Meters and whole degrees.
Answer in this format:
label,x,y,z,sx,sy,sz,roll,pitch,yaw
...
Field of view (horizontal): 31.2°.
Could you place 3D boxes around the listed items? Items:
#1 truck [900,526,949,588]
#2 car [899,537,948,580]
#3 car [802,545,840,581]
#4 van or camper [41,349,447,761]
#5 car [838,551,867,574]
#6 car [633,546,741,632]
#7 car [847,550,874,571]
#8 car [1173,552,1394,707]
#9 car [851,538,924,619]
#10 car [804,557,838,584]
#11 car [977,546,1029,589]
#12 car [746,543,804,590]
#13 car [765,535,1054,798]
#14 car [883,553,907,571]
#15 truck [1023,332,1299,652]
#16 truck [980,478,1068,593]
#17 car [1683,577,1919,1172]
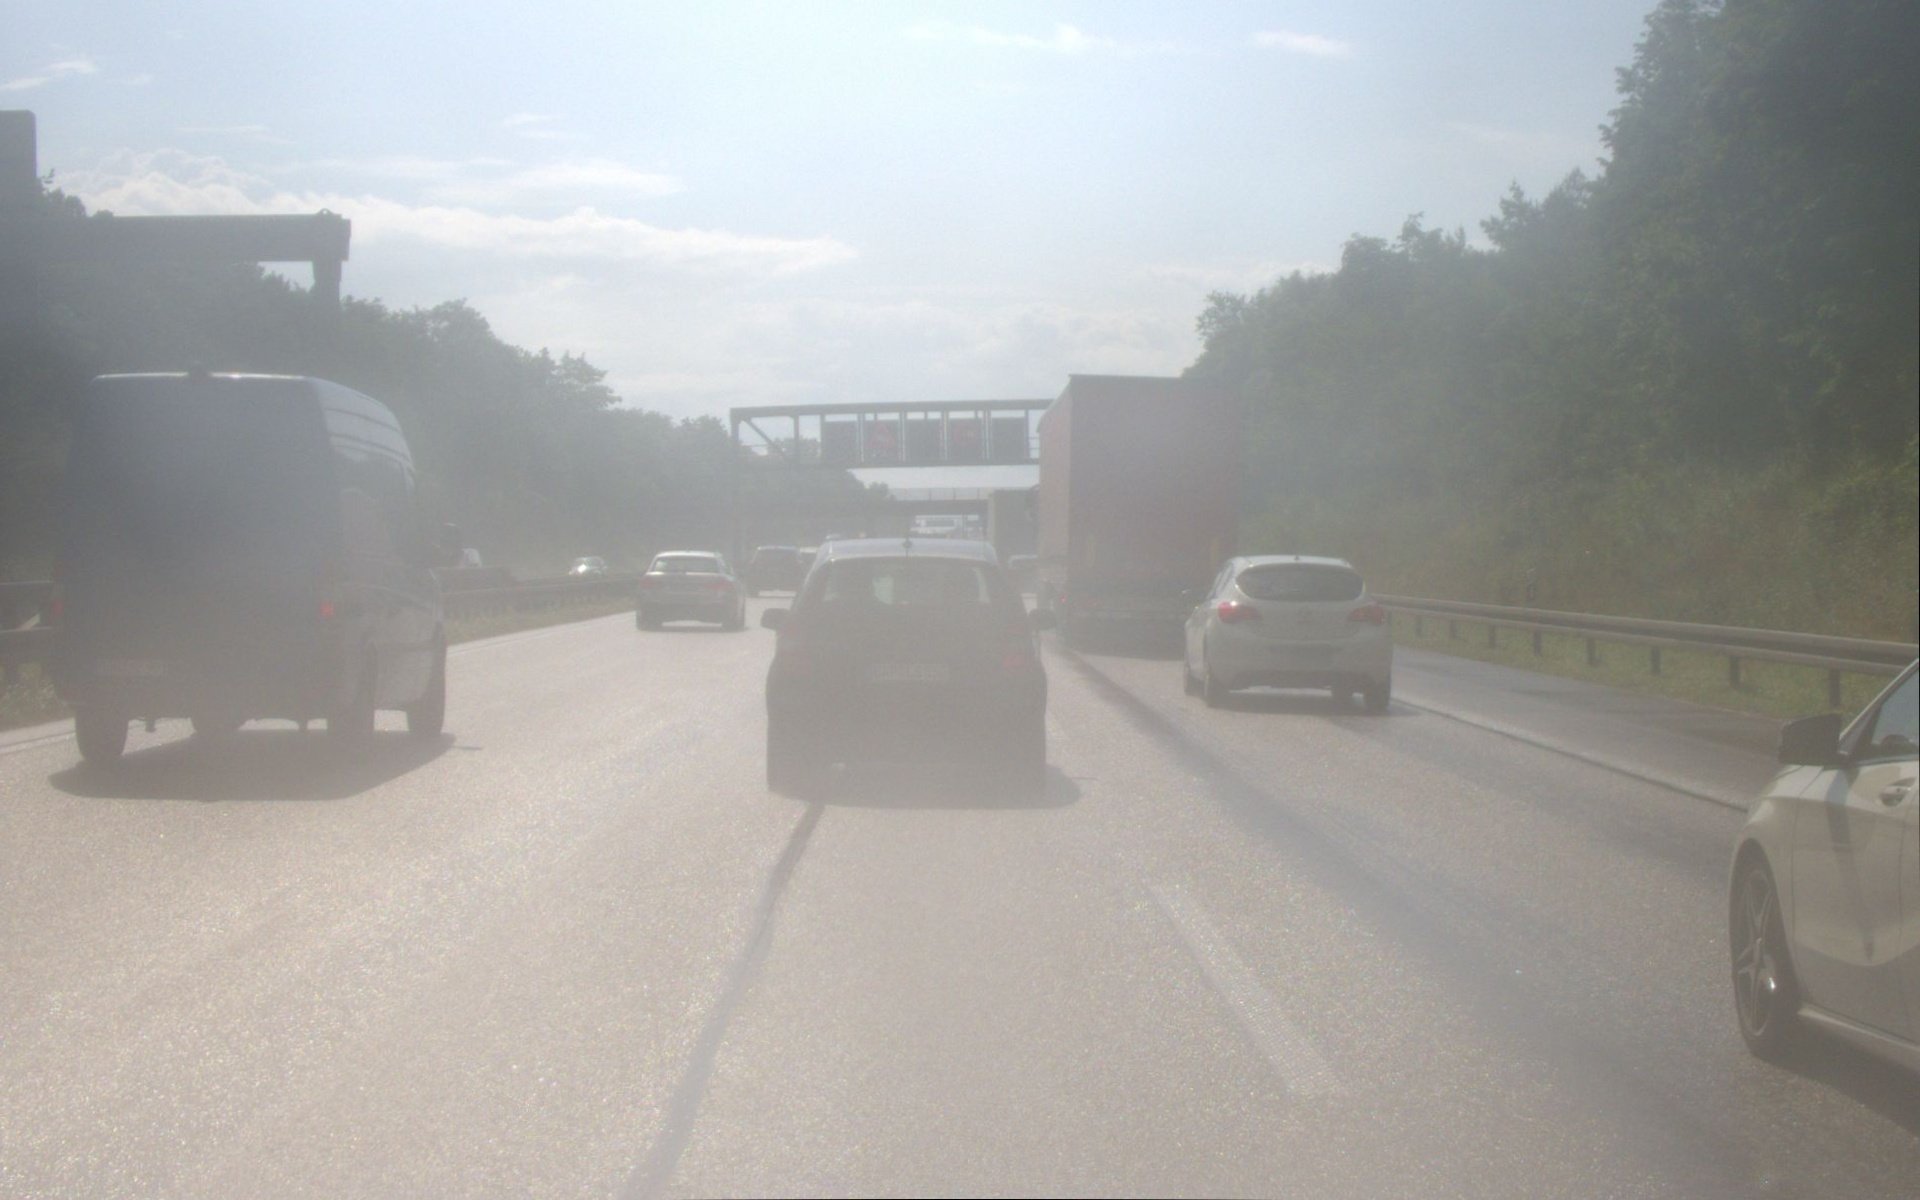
label,x,y,z,sx,sy,sz,roll,pitch,yaw
truck,-1.696,-2.019,162.626,2.192,2.865,4.850,1,1,-2
car,-1.225,-1.387,114.891,1.552,1.378,3.210,1,1,-2
car,-5.473,-1.470,135.713,1.460,1.389,3.312,1,1,-2
van or camper,-5.074,-0.323,25.130,1.993,2.659,5.385,1,1,-2
car,-6.000,-2.098,192.115,1.549,1.262,3.485,1,1,-2
car,-5.094,-0.226,64.512,1.854,1.546,3.485,1,1,-2
car,-5.917,-2.364,205.047,1.549,1.262,3.485,1,1,-2
car,3.167,0.252,34.303,1.680,1.437,3.905,1,1,-2
car,-1.626,-0.491,76.305,1.531,1.740,3.485,1,1,-2
car,-6.517,-1.391,161.475,1.549,1.262,3.485,1,1,-2
car,1.396,-1.072,113.251,1.552,1.378,3.210,1,1,-2
car,-5.884,-1.071,109.581,1.751,1.452,3.390,1,1,-2
car,-0.363,0.380,22.439,1.717,1.562,3.485,1,1,-2
car,-4.426,-2.599,234.902,1.549,1.262,3.485,1,1,-2
truck,3.133,-1.707,59.443,3.650,4.704,16.779,1,1,0
truck,2.527,-2.601,141.003,3.256,4.464,12.421,1,1,0
car,3.168,0.674,8.845,1.692,1.420,4.220,1,1,0
